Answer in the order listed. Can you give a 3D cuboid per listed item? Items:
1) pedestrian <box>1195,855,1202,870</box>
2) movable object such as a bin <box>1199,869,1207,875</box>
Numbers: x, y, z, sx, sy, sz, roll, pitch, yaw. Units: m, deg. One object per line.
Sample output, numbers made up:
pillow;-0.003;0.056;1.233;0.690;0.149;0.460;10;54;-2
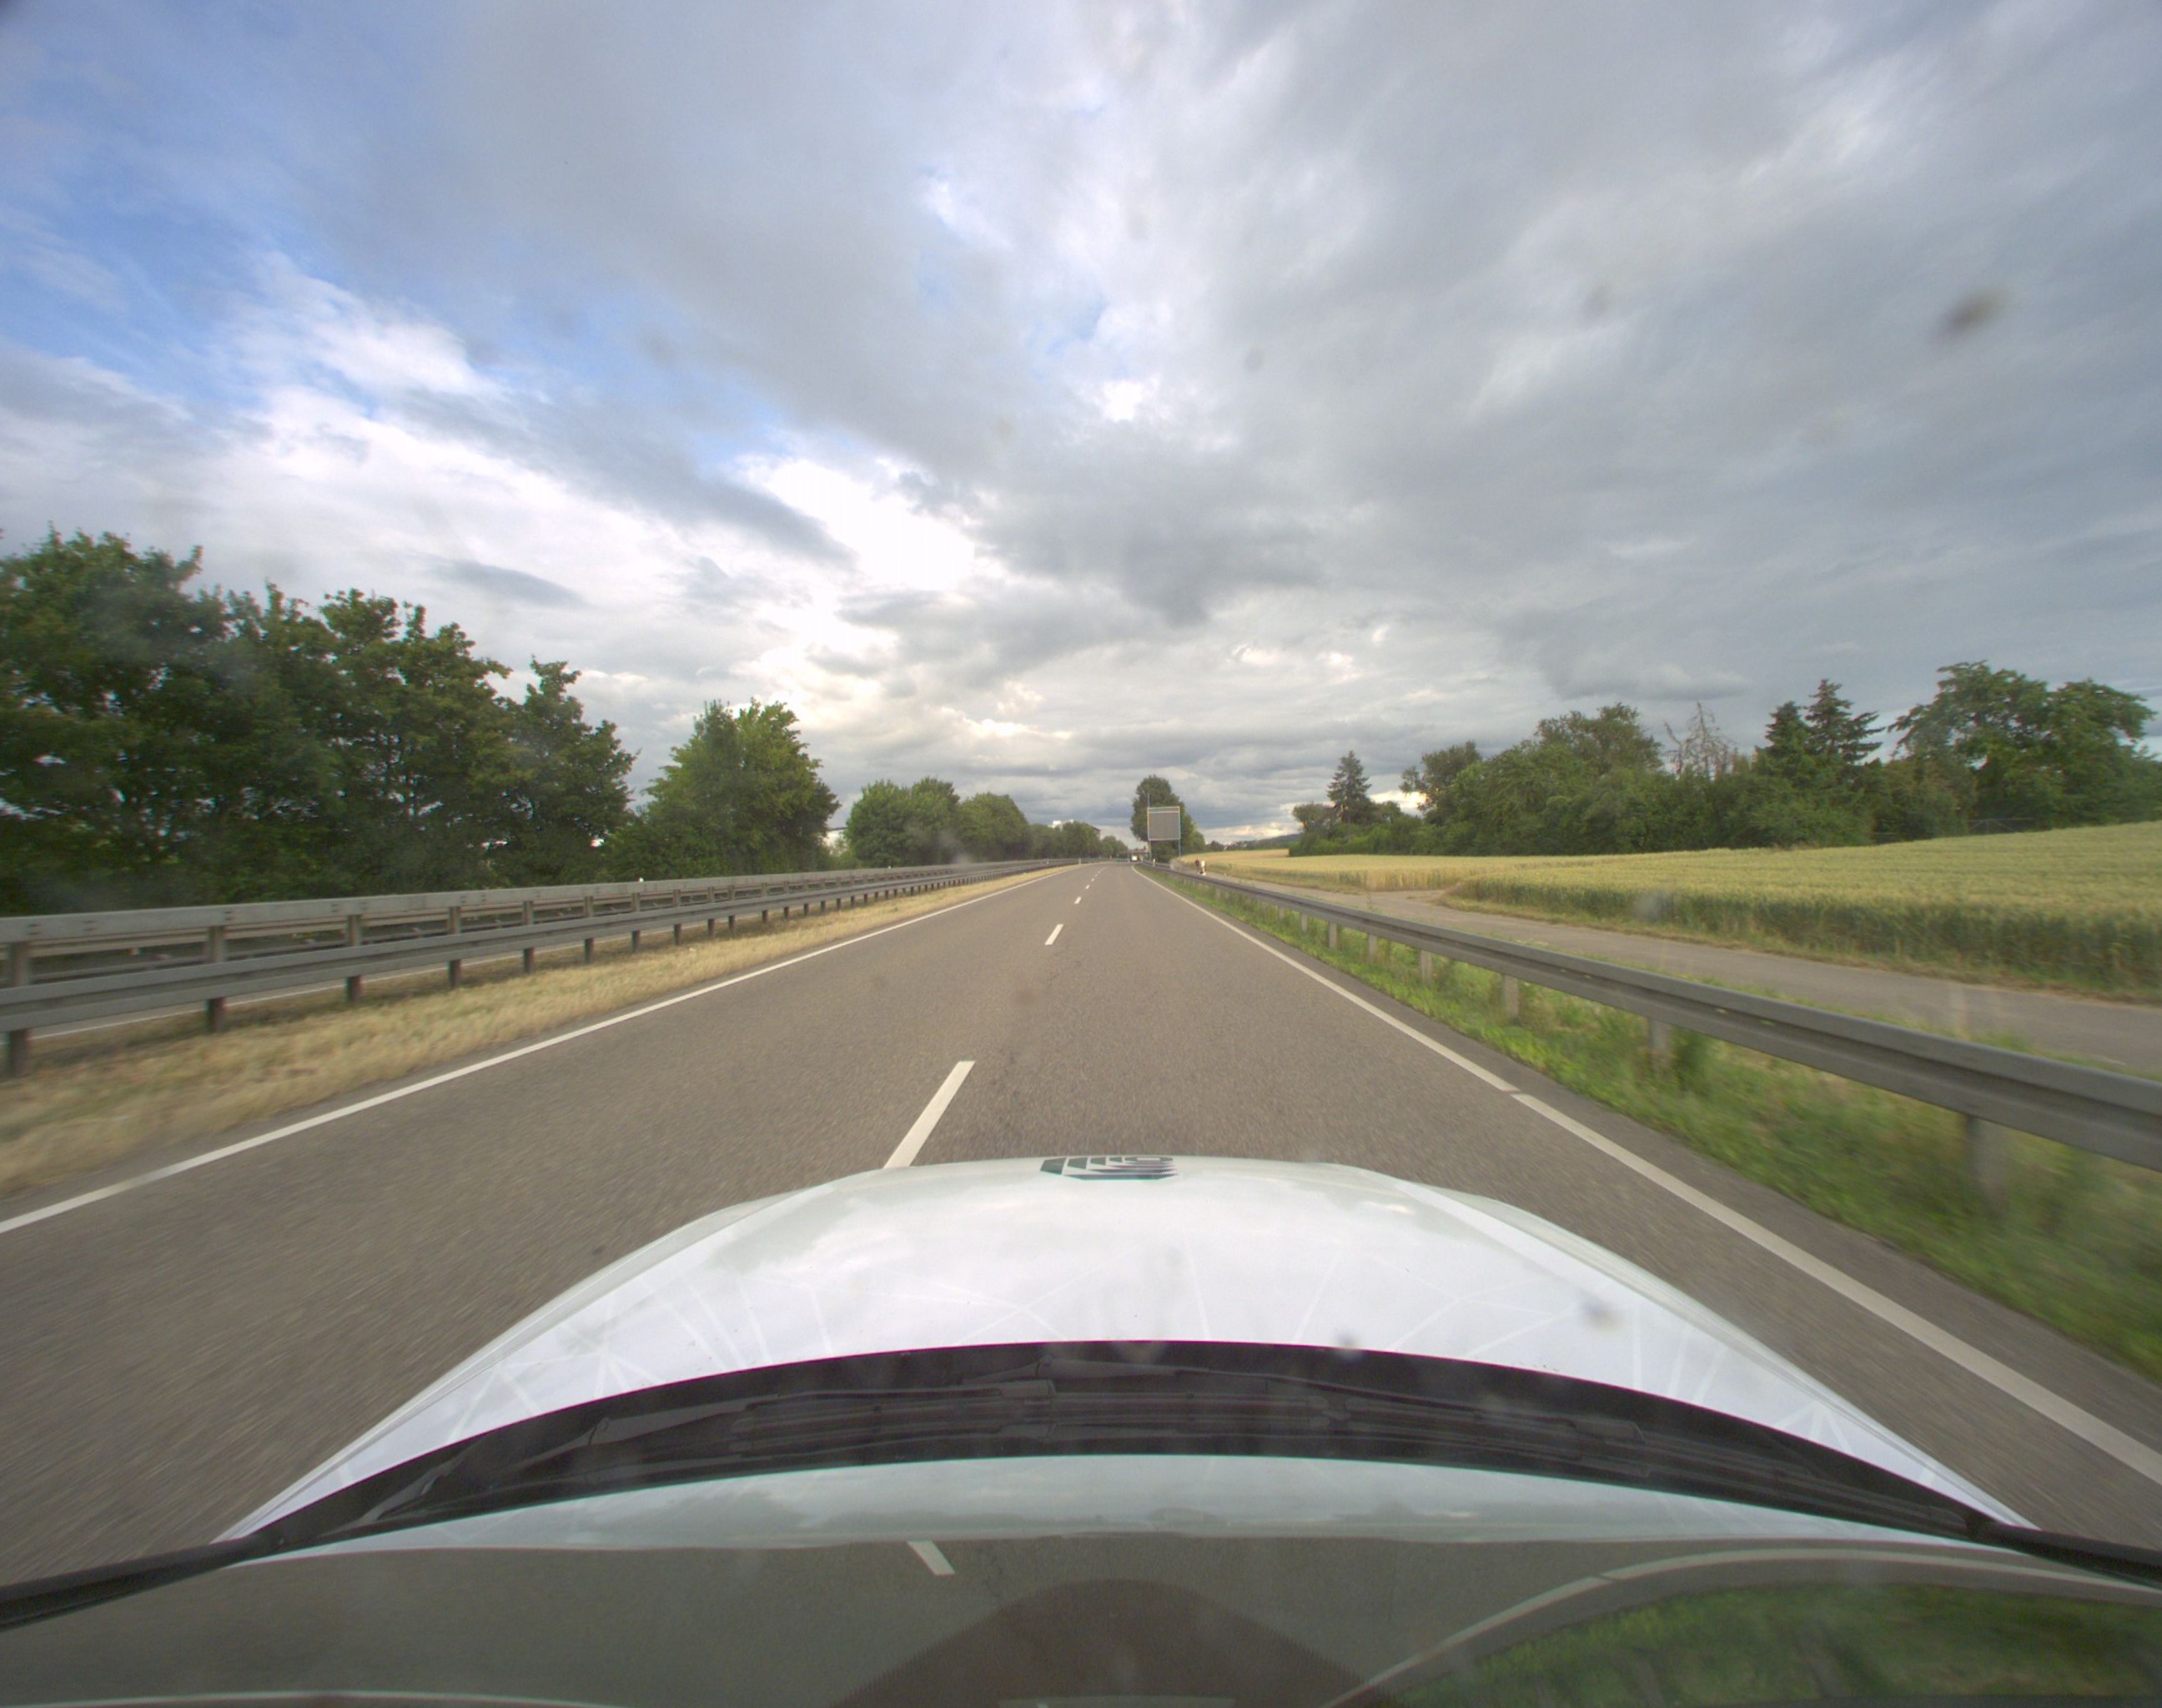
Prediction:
pedestrian;14.560;1.037;101.176;0.768;1.868;0.940;0;-1;2
movable object such as a bin;13.383;1.979;89.265;0.729;0.645;1.236;0;-1;2
